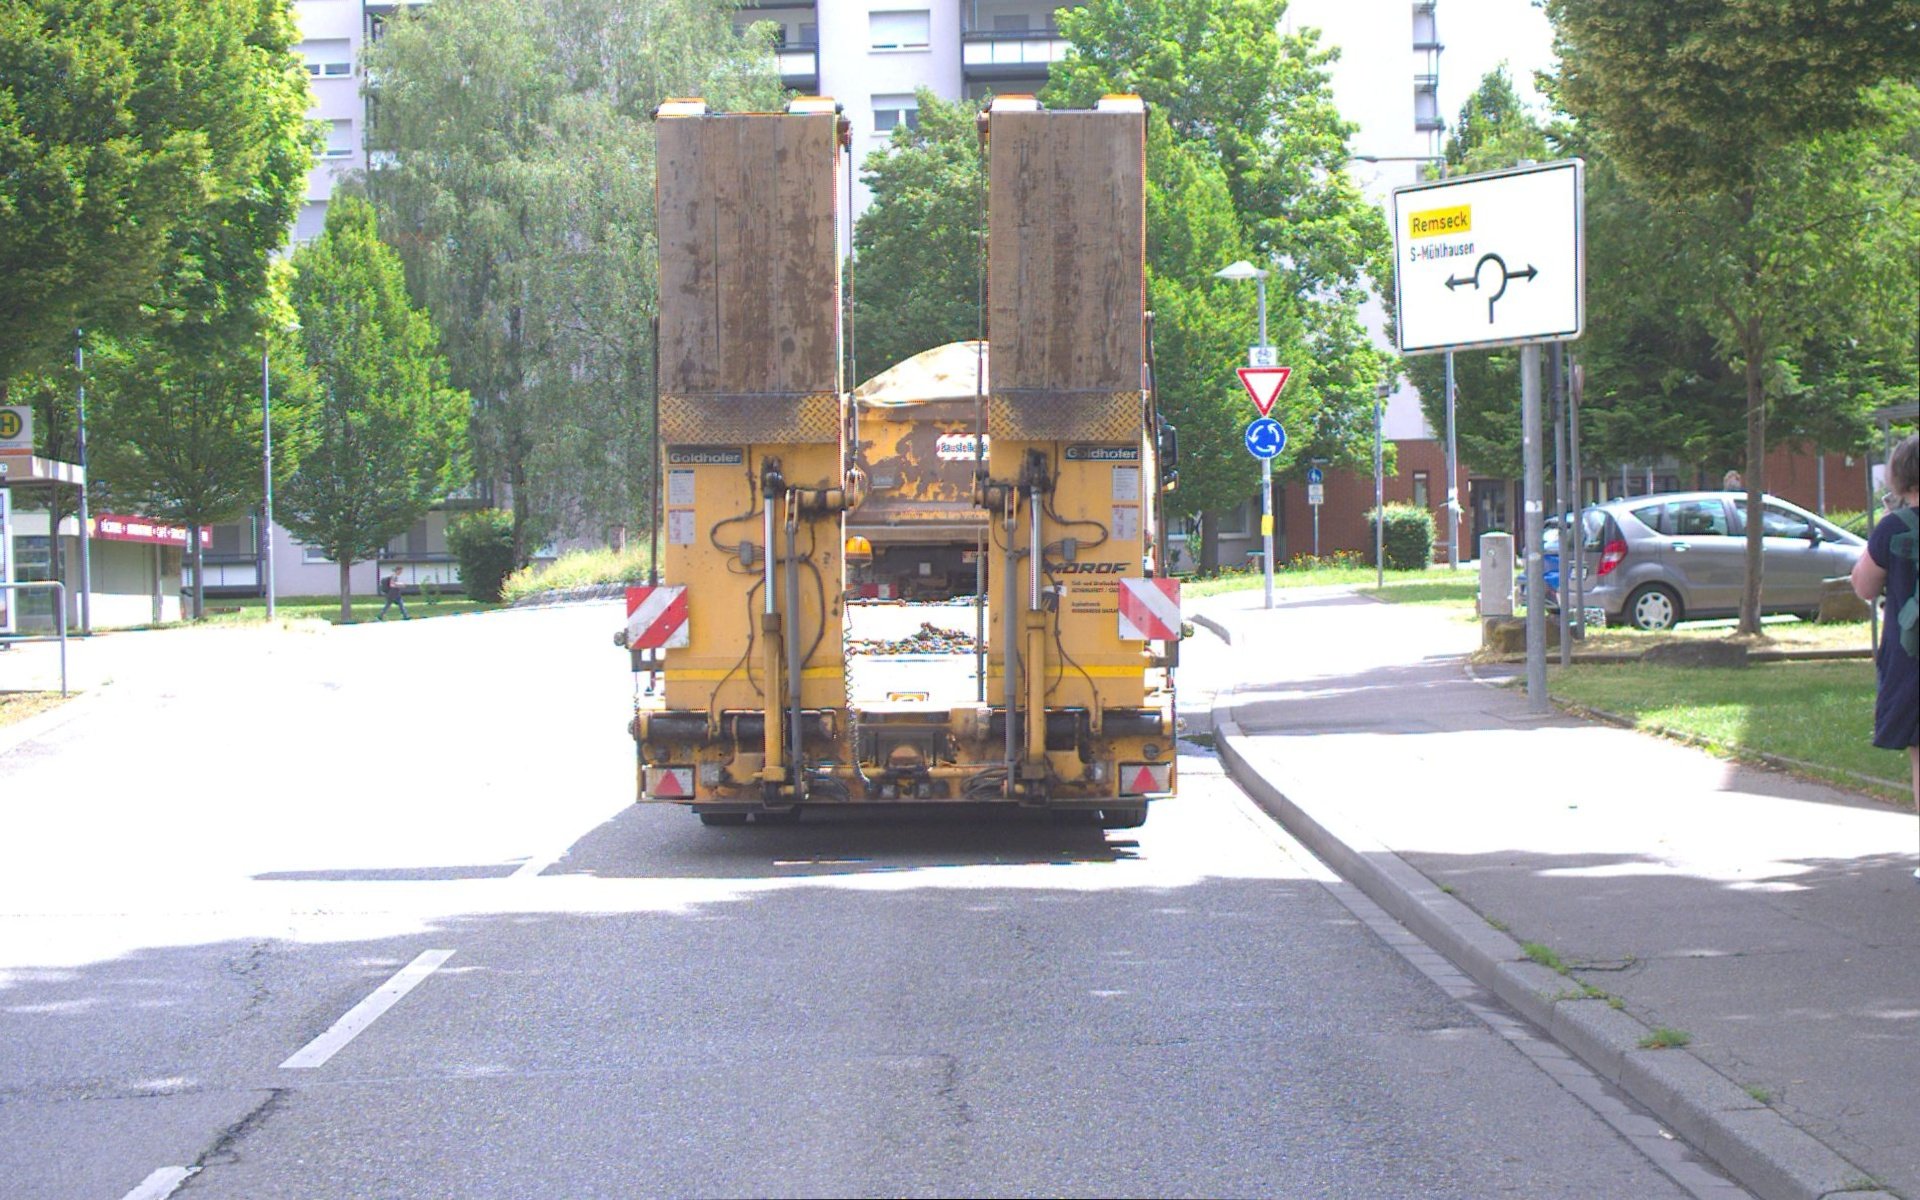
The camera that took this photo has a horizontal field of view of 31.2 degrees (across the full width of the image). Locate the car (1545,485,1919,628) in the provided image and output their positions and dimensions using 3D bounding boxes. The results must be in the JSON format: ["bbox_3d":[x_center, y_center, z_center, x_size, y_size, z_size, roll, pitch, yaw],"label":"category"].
[{"bbox_3d":[8.834,-0.494,38.884,3.986,1.556,1.760,0,1,-12],"label":"car"}]

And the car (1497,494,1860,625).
[{"bbox_3d":[8.822,-0.501,42.346,3.986,1.556,1.760,0,1,-12],"label":"car"}]

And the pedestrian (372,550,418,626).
[{"bbox_3d":[-15.063,-0.325,91.671,0.907,2.007,0.962,0,1,-31],"label":"pedestrian"}]

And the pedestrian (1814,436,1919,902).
[{"bbox_3d":[3.710,0.232,12.974,0.718,1.700,0.766,-2,2,-1],"label":"pedestrian"}]

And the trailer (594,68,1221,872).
[{"bbox_3d":[-0.321,-0.727,21.815,2.827,3.633,12.355,0,1,-1],"label":"trailer"}]
